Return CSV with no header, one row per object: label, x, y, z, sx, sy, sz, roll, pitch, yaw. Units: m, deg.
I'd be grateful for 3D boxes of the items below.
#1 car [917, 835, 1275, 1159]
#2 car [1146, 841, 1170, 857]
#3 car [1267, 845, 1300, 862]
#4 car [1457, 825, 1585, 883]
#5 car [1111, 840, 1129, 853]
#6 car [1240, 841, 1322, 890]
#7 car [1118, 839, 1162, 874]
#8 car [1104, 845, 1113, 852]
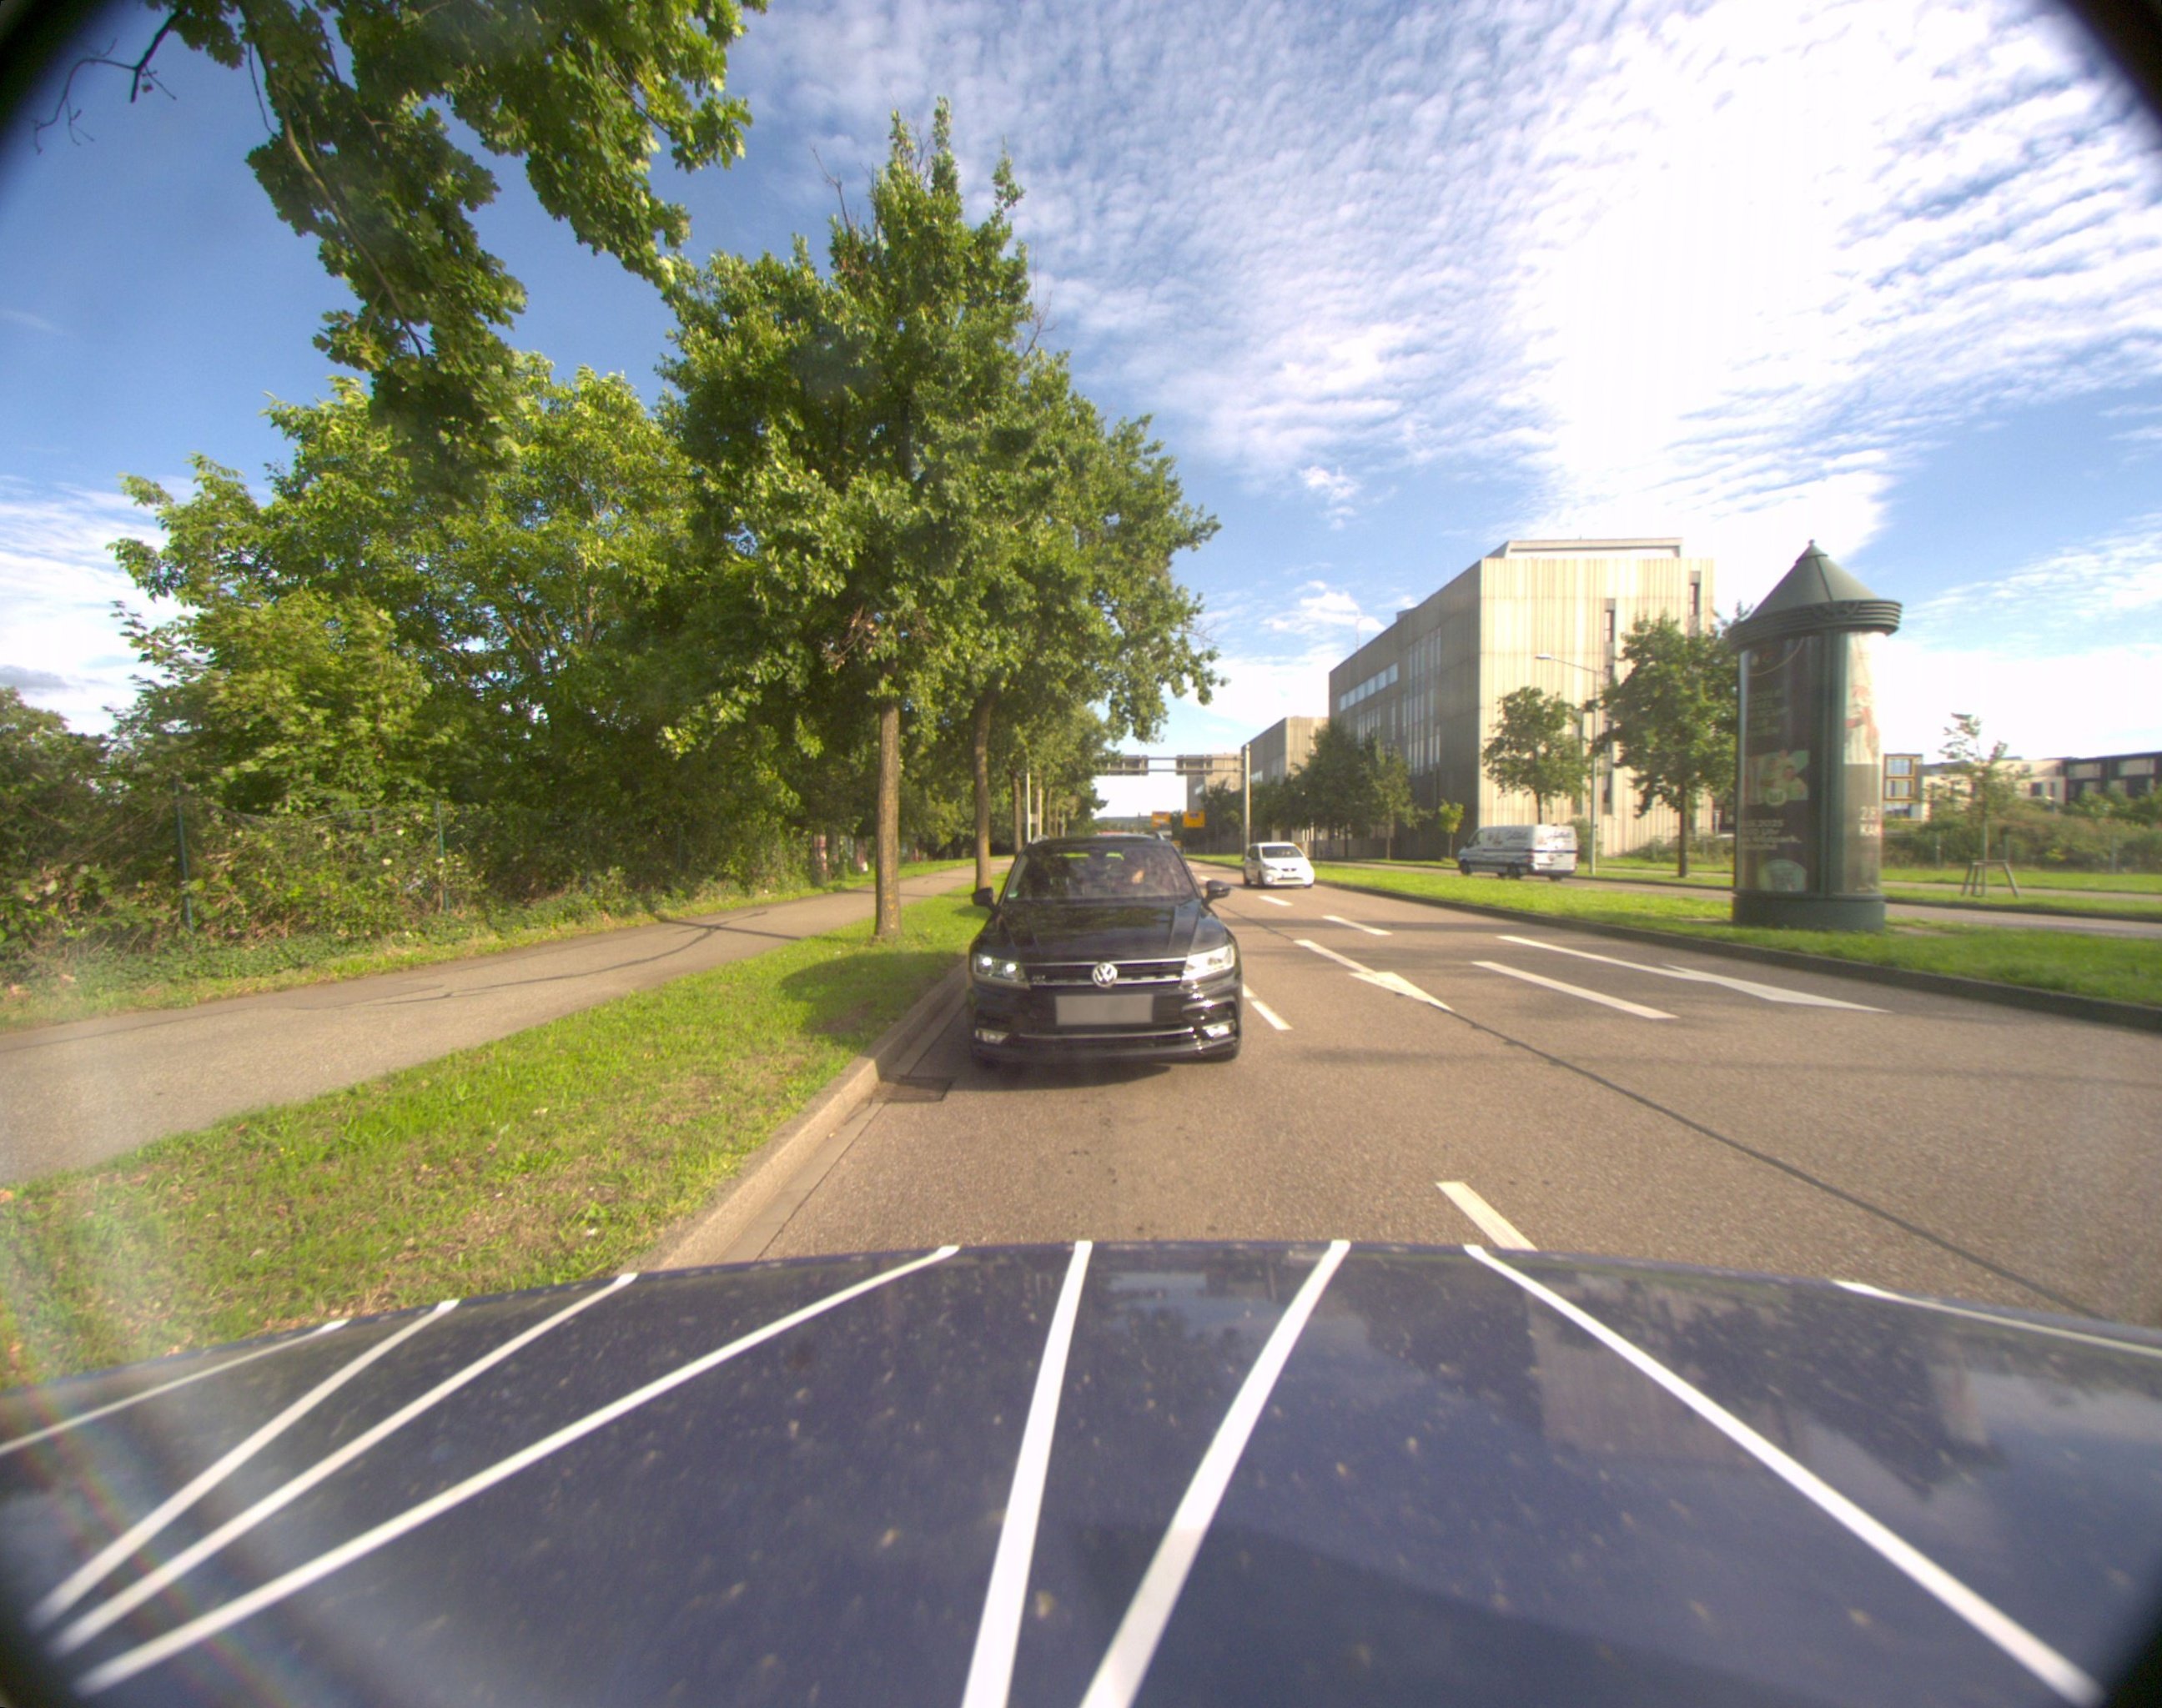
car,0.141,0.765,6.697,1.871,1.685,5.015,-4,1,1
car,7.380,-0.491,72.958,1.823,1.412,4.446,1,1,0
car,18.412,-0.043,69.181,1.855,1.456,4.454,-1,1,1
car,18.556,-0.046,32.447,2.032,2.242,5.539,1,1,-2
car,4.646,-0.882,90.912,1.855,1.456,4.454,-1,1,1
car,6.489,0.335,25.012,1.766,1.456,3.659,-1,1,1
car,2.915,0.081,38.399,1.998,1.557,4.844,-2,1,2
car,5.615,-1.218,157.327,1.736,1.381,3.999,0,1,1
